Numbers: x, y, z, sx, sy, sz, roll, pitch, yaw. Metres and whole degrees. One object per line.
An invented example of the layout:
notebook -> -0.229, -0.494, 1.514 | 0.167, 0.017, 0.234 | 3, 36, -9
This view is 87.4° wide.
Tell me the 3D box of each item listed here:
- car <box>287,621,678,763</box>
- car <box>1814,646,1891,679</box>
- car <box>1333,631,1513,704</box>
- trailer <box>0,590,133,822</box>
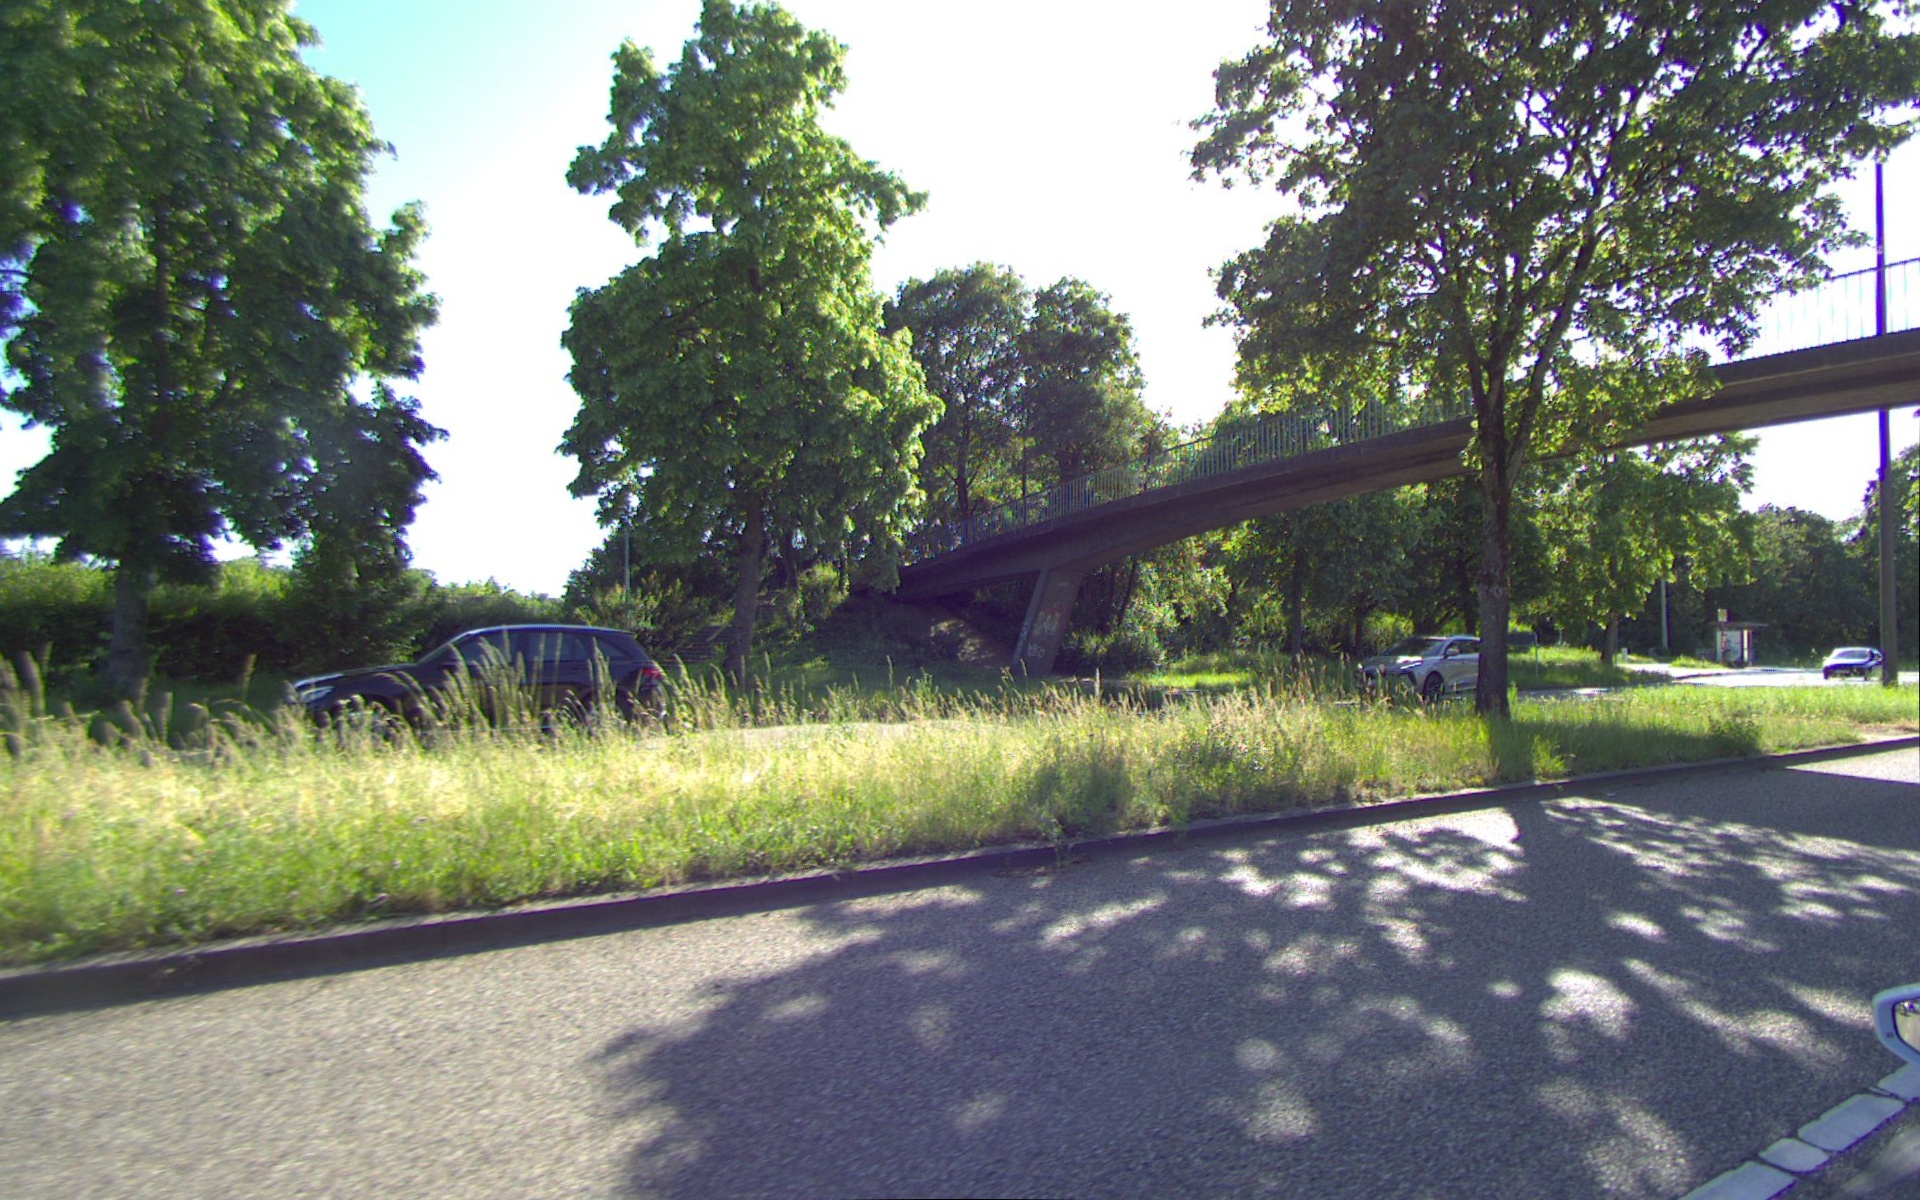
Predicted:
car -> -6.324, 1.139, 13.616 | 4.526, 1.641, 1.741 | 1, -2, -31
car -> 40.903, 2.857, 46.010 | 4.210, 1.449, 1.531 | 2, -3, -33
car -> 11.638, 1.667, 25.137 | 4.846, 1.667, 1.723 | 2, -4, -32
trailer -> -9.710, 0.868, 8.277 | 4.234, 1.935, 1.554 | 1, -2, -31
